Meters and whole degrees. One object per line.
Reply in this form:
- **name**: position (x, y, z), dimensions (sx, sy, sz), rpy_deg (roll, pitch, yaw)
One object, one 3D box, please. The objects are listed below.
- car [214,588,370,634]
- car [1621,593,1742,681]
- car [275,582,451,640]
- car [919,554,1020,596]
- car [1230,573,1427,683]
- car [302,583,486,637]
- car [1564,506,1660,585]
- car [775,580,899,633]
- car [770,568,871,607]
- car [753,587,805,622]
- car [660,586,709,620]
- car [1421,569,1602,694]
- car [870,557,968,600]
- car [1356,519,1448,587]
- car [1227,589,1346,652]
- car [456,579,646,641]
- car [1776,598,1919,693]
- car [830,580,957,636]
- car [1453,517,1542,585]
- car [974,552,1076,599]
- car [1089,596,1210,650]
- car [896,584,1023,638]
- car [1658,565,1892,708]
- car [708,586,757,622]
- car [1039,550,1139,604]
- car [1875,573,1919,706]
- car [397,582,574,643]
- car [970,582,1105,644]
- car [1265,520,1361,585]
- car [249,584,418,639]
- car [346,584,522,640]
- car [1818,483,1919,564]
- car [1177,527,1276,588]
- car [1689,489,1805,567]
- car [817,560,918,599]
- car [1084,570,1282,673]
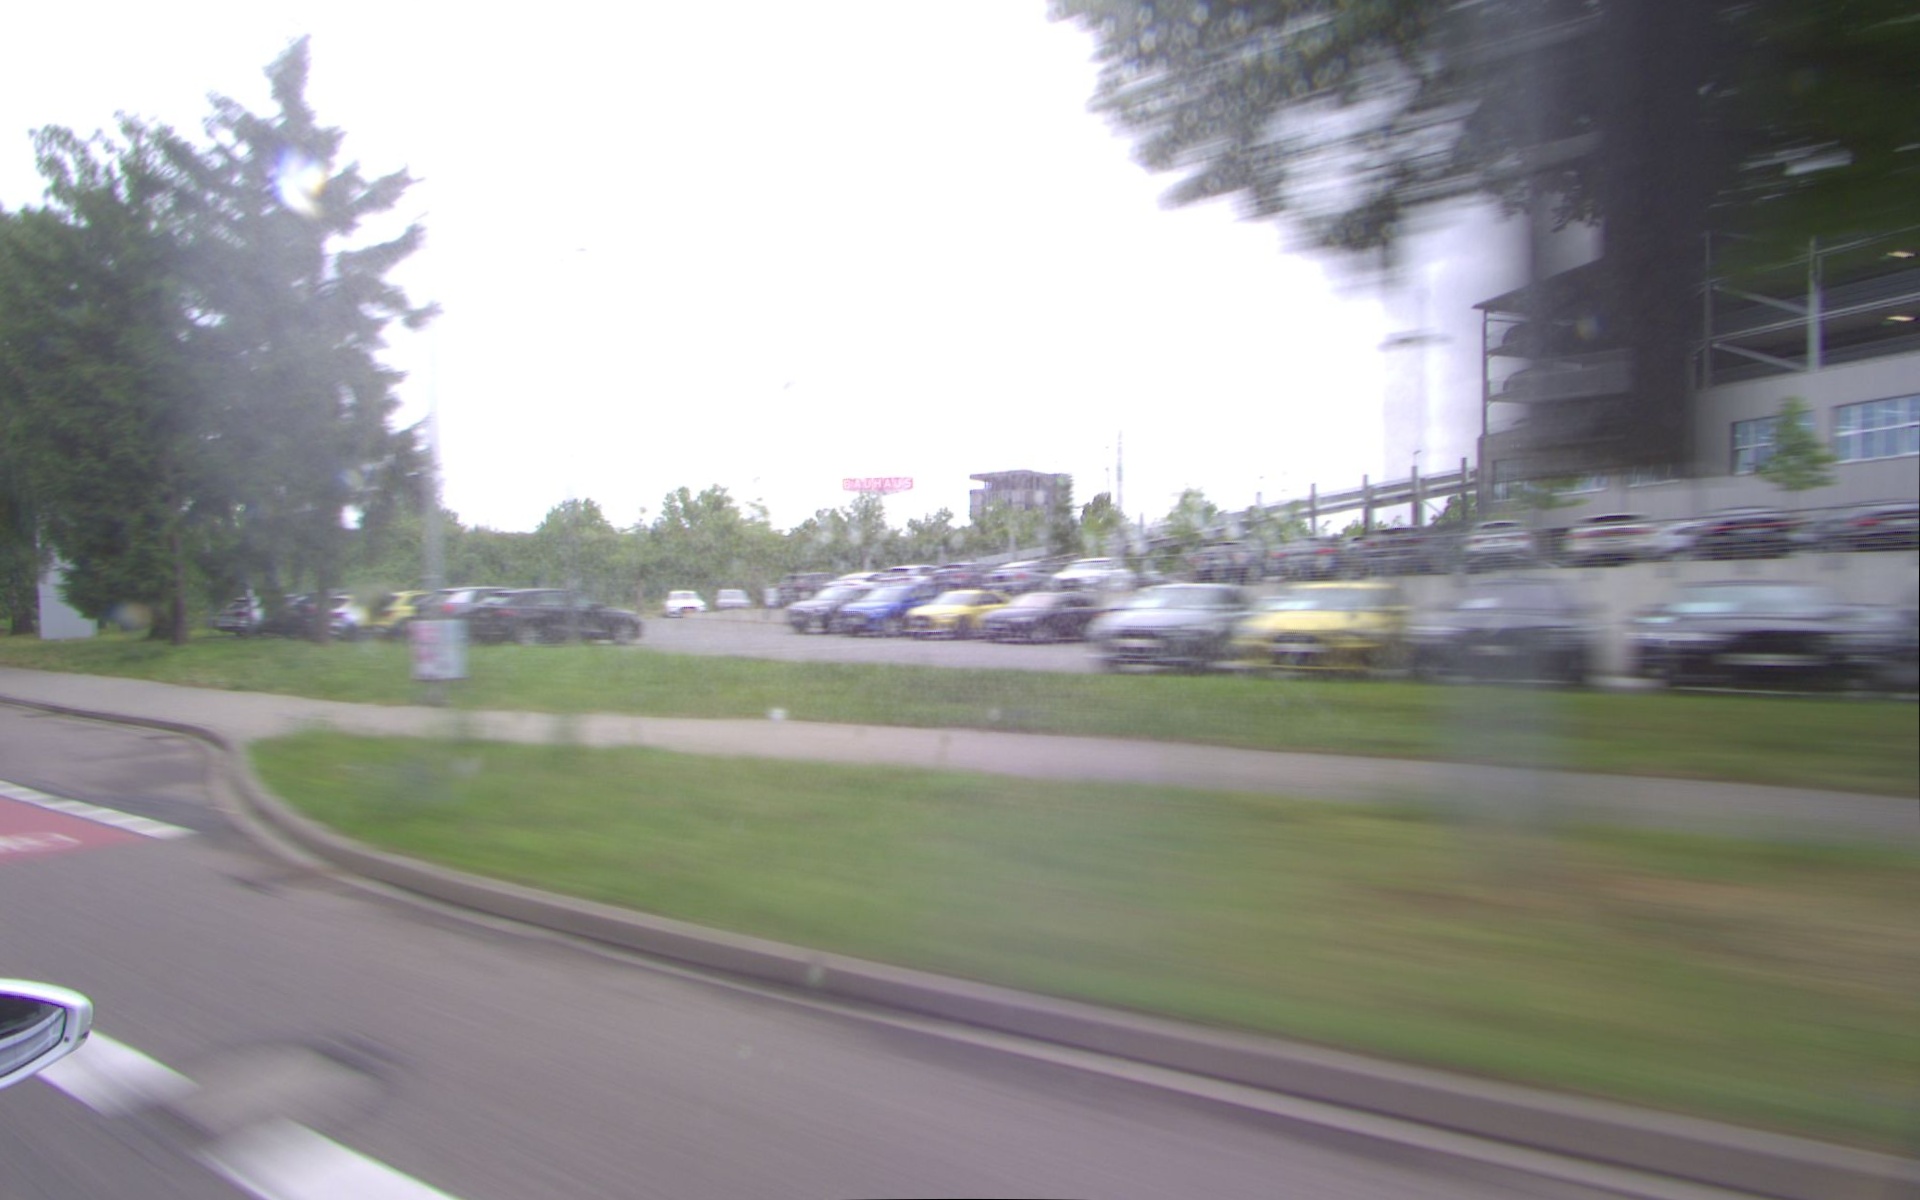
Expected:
- **car**: position (-23.396, 0.386, 35.245), dimensions (1.713, 1.509, 4.293), rpy_deg (0, 0, 29)
- **car**: position (14.933, 0.784, 20.863), dimensions (1.876, 1.621, 4.288), rpy_deg (0, -3, 34)
- **car**: position (-18.494, 0.403, 31.186), dimensions (1.943, 1.621, 4.287), rpy_deg (0, -3, 35)
- **car**: position (0.433, -0.912, 37.761), dimensions (1.806, 1.263, 4.291), rpy_deg (0, -3, 33)
- **car**: position (5.580, 0.446, 14.853), dimensions (1.771, 1.395, 4.036), rpy_deg (0, -3, 35)
- **car**: position (-16.505, 0.343, 29.396), dimensions (1.877, 1.400, 4.287), rpy_deg (0, -3, 35)
- **car**: position (16.952, -1.319, 25.952), dimensions (1.871, 1.611, 4.286), rpy_deg (0, -3, 36)
- **car**: position (-4.137, 0.260, 34.237), dimensions (1.876, 1.621, 4.290), rpy_deg (0, -2, 33)
- **car**: position (-5.773, -0.478, 41.864), dimensions (1.806, 1.391, 4.291), rpy_deg (0, -3, 33)
- **car**: position (-9.674, 0.276, 53.191), dimensions (1.936, 1.711, 4.301), rpy_deg (2, -2, -21)
- **car**: position (-14.394, 0.214, 52.170), dimensions (1.874, 1.586, 4.661), rpy_deg (2, -2, -23)
- **car**: position (7.453, 0.449, 13.318), dimensions (1.715, 1.375, 4.289), rpy_deg (0, -3, 34)
- **car**: position (-1.553, -0.798, 39.284), dimensions (1.676, 1.400, 4.291), rpy_deg (0, -3, 33)
- **car**: position (12.768, -1.269, 28.777), dimensions (1.806, 1.530, 4.291), rpy_deg (0, -2, 33)
- **car**: position (8.432, 0.570, 25.668), dimensions (1.876, 1.477, 3.898), rpy_deg (0, -3, 35)
- **car**: position (-10.091, 0.306, 24.948), dimensions (1.877, 1.370, 3.982), rpy_deg (0, -3, 35)
- **car**: position (17.143, 0.879, 19.275), dimensions (1.876, 1.621, 4.288), rpy_deg (0, -3, 34)
- **car**: position (-2.079, 0.255, 32.404), dimensions (1.875, 1.648, 4.287), rpy_deg (2, 1, 33)
- **car**: position (14.826, -1.273, 27.518), dimensions (1.838, 1.451, 4.291), rpy_deg (0, -3, 33)
- **car**: position (2.416, -0.828, 36.179), dimensions (1.806, 1.389, 4.291), rpy_deg (0, -3, 33)
- **car**: position (5.332, 0.585, 27.747), dimensions (1.874, 1.346, 4.289), rpy_deg (1, 1, 32)
- **car**: position (0.060, 0.354, 30.787), dimensions (1.876, 1.526, 4.287), rpy_deg (0, -1, 33)
- **car**: position (9.576, 0.459, 12.093), dimensions (1.813, 1.395, 4.289), rpy_deg (0, -3, 34)
- **car**: position (-11.997, 0.246, 52.585), dimensions (1.936, 1.673, 4.301), rpy_deg (2, -2, -21)
- **car**: position (4.551, -0.746, 34.782), dimensions (1.806, 1.554, 4.291), rpy_deg (0, -2, 33)
- **car**: position (11.491, 0.440, 10.772), dimensions (1.819, 1.463, 4.289), rpy_deg (0, -3, 34)
- **car**: position (-12.375, 0.381, 26.312), dimensions (1.926, 1.441, 3.744), rpy_deg (0, -3, 33)
- **car**: position (2.314, 0.341, 28.939), dimensions (1.877, 1.622, 4.282), rpy_deg (2, 1, 37)
- **car**: position (10.746, -1.366, 30.322), dimensions (1.806, 1.544, 4.291), rpy_deg (0, -2, 33)
- **car**: position (-20.463, 0.411, 32.884), dimensions (1.941, 1.621, 4.291), rpy_deg (0, -2, 32)
- **car**: position (-14.641, 0.381, 28.053), dimensions (1.787, 1.396, 3.984), rpy_deg (0, -3, 36)
- **car**: position (21.620, -1.720, 23.380), dimensions (1.806, 1.381, 4.291), rpy_deg (0, -3, 33)
- **car**: position (8.570, -1.279, 31.904), dimensions (1.833, 1.546, 4.291), rpy_deg (0, -2, 33)
- **car**: position (19.119, -1.678, 24.503), dimensions (1.806, 1.381, 4.291), rpy_deg (0, -3, 33)
- **car**: position (-3.681, -0.786, 40.600), dimensions (1.806, 1.306, 4.291), rpy_deg (0, -3, 33)
- **car**: position (3.748, 0.397, 16.266), dimensions (1.715, 1.449, 4.179), rpy_deg (0, -3, 34)
